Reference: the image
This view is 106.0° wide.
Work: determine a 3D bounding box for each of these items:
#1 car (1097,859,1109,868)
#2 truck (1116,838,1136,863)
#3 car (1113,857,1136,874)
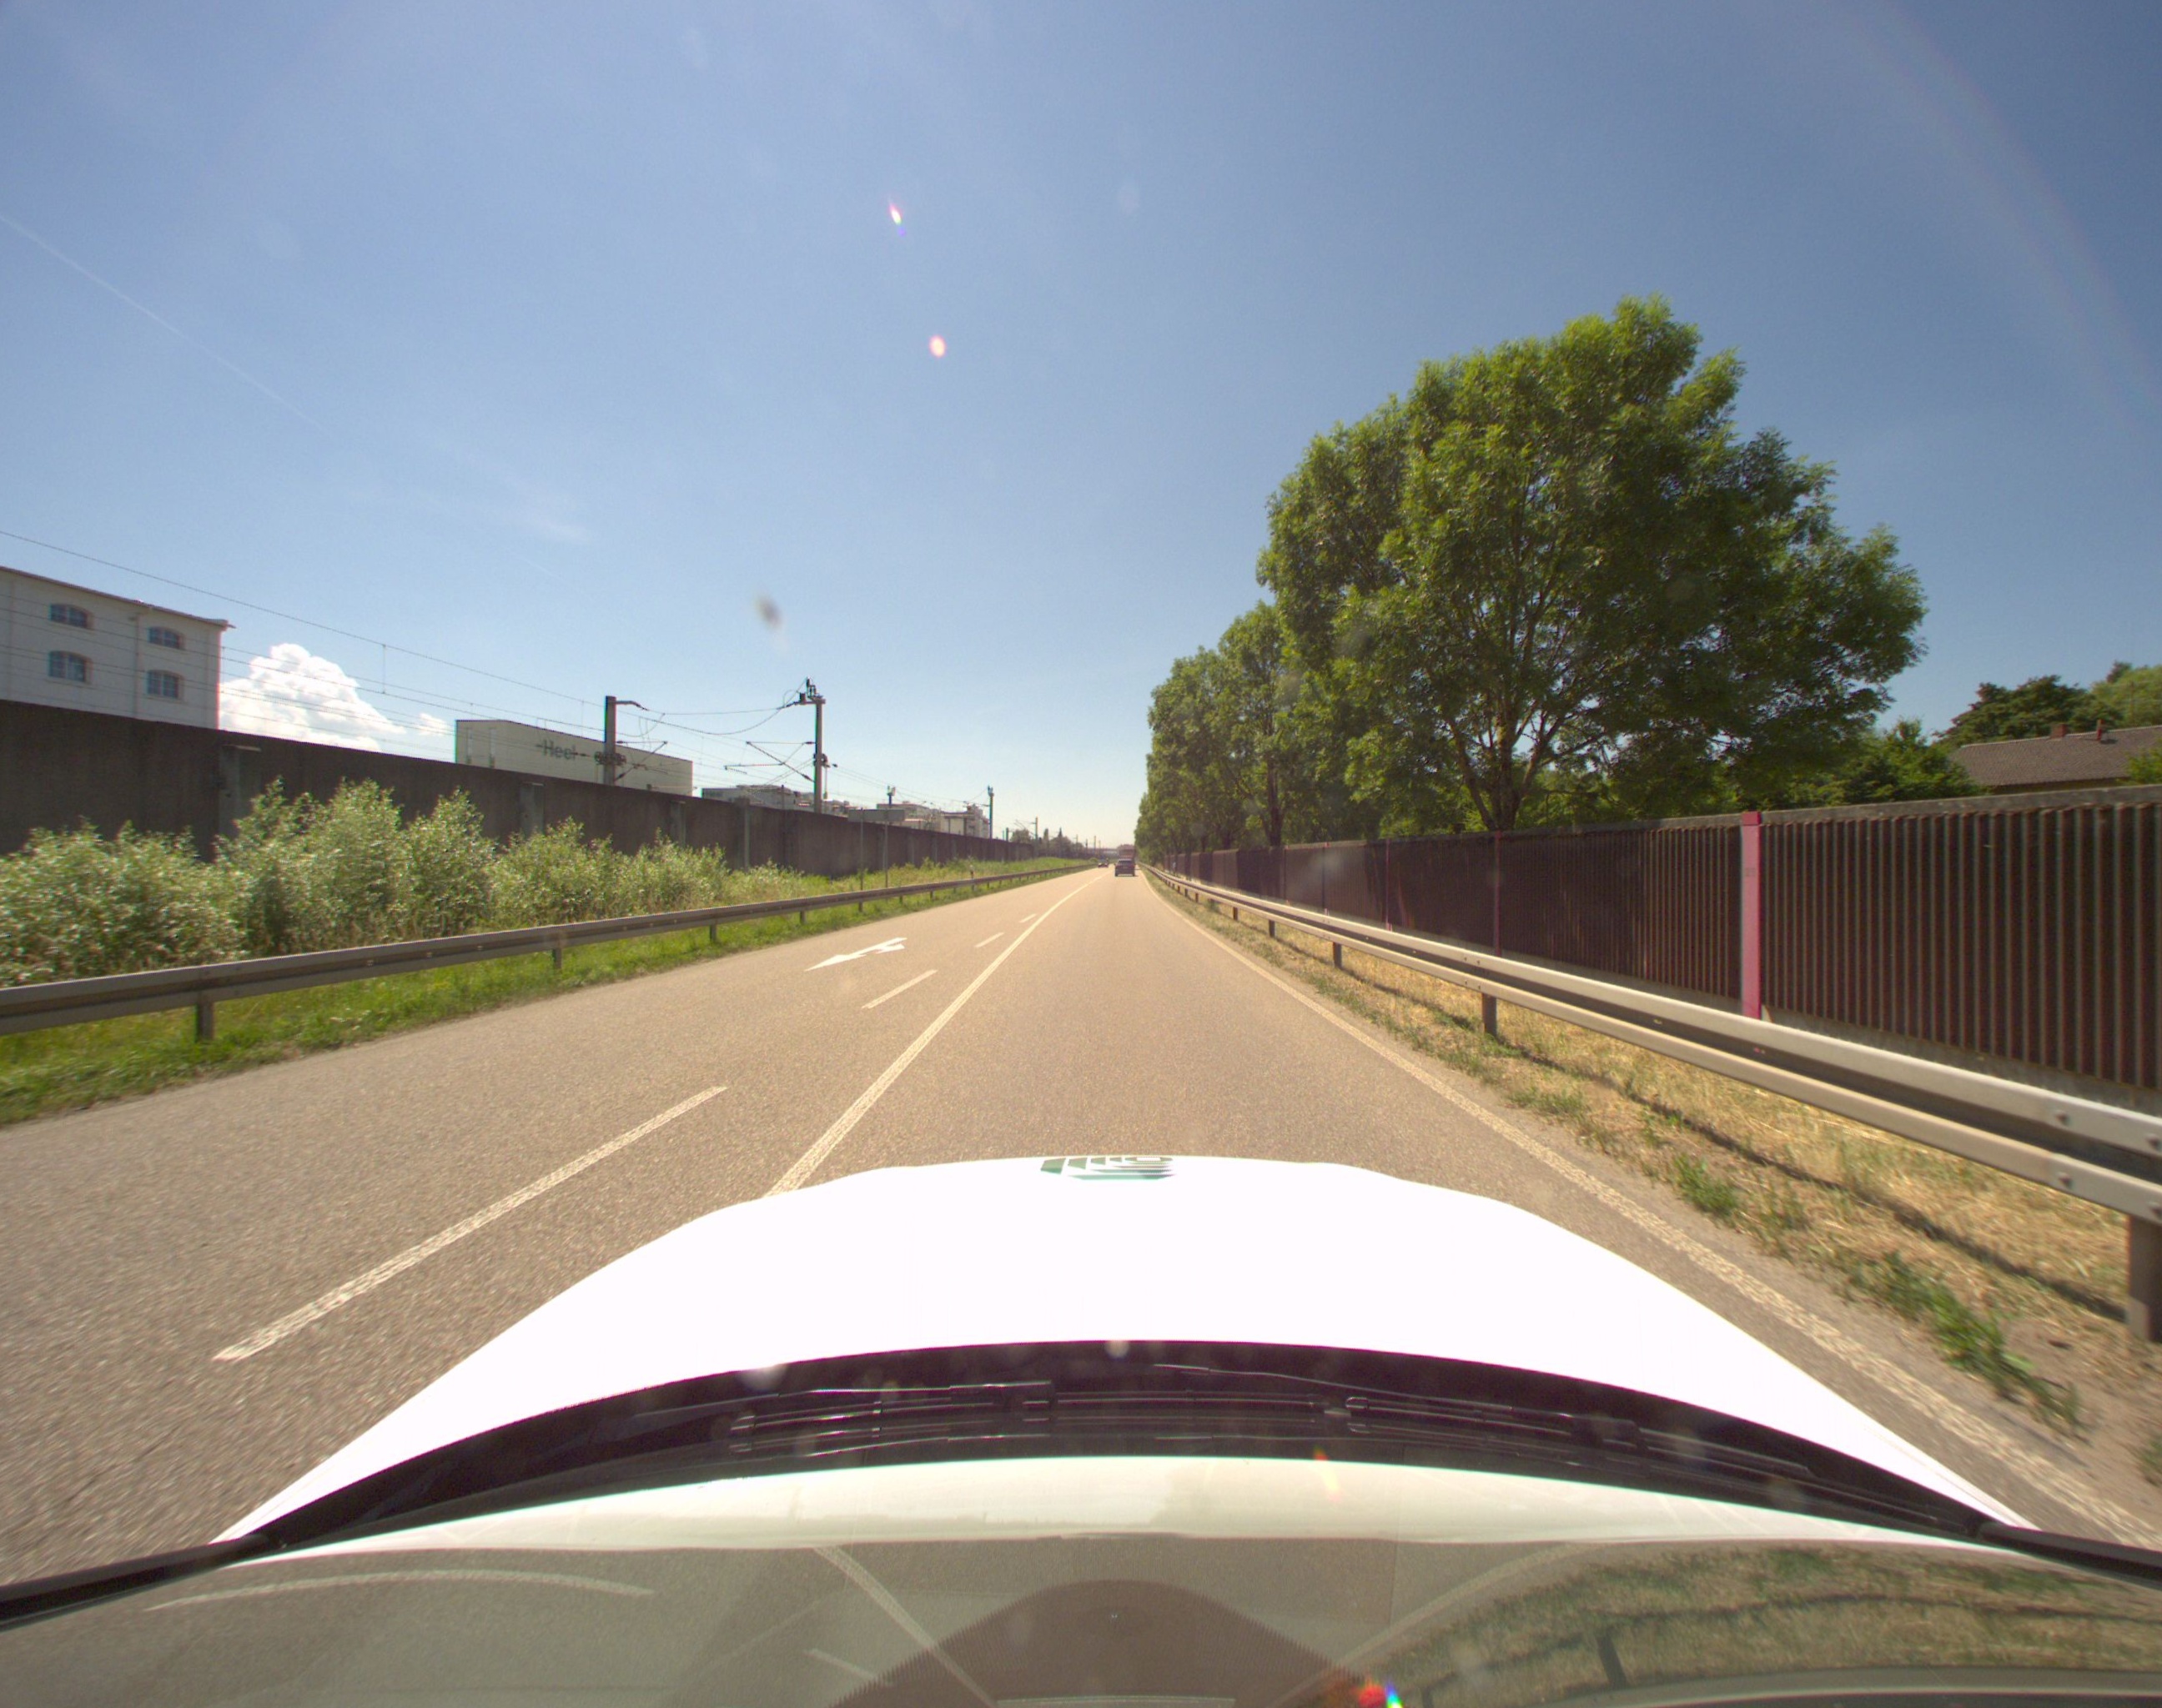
[{"bbox_3d":[4.082,1.677,148.748,1.985,1.508,4.003,-1,0,3],"label":"car"},{"bbox_3d":[6.586,-0.476,119.007,2.758,3.425,10.829,-1,-1,4],"label":"truck"},{"bbox_3d":[3.924,1.012,73.731,1.986,1.508,4.001,-1,0,1],"label":"car"}]
